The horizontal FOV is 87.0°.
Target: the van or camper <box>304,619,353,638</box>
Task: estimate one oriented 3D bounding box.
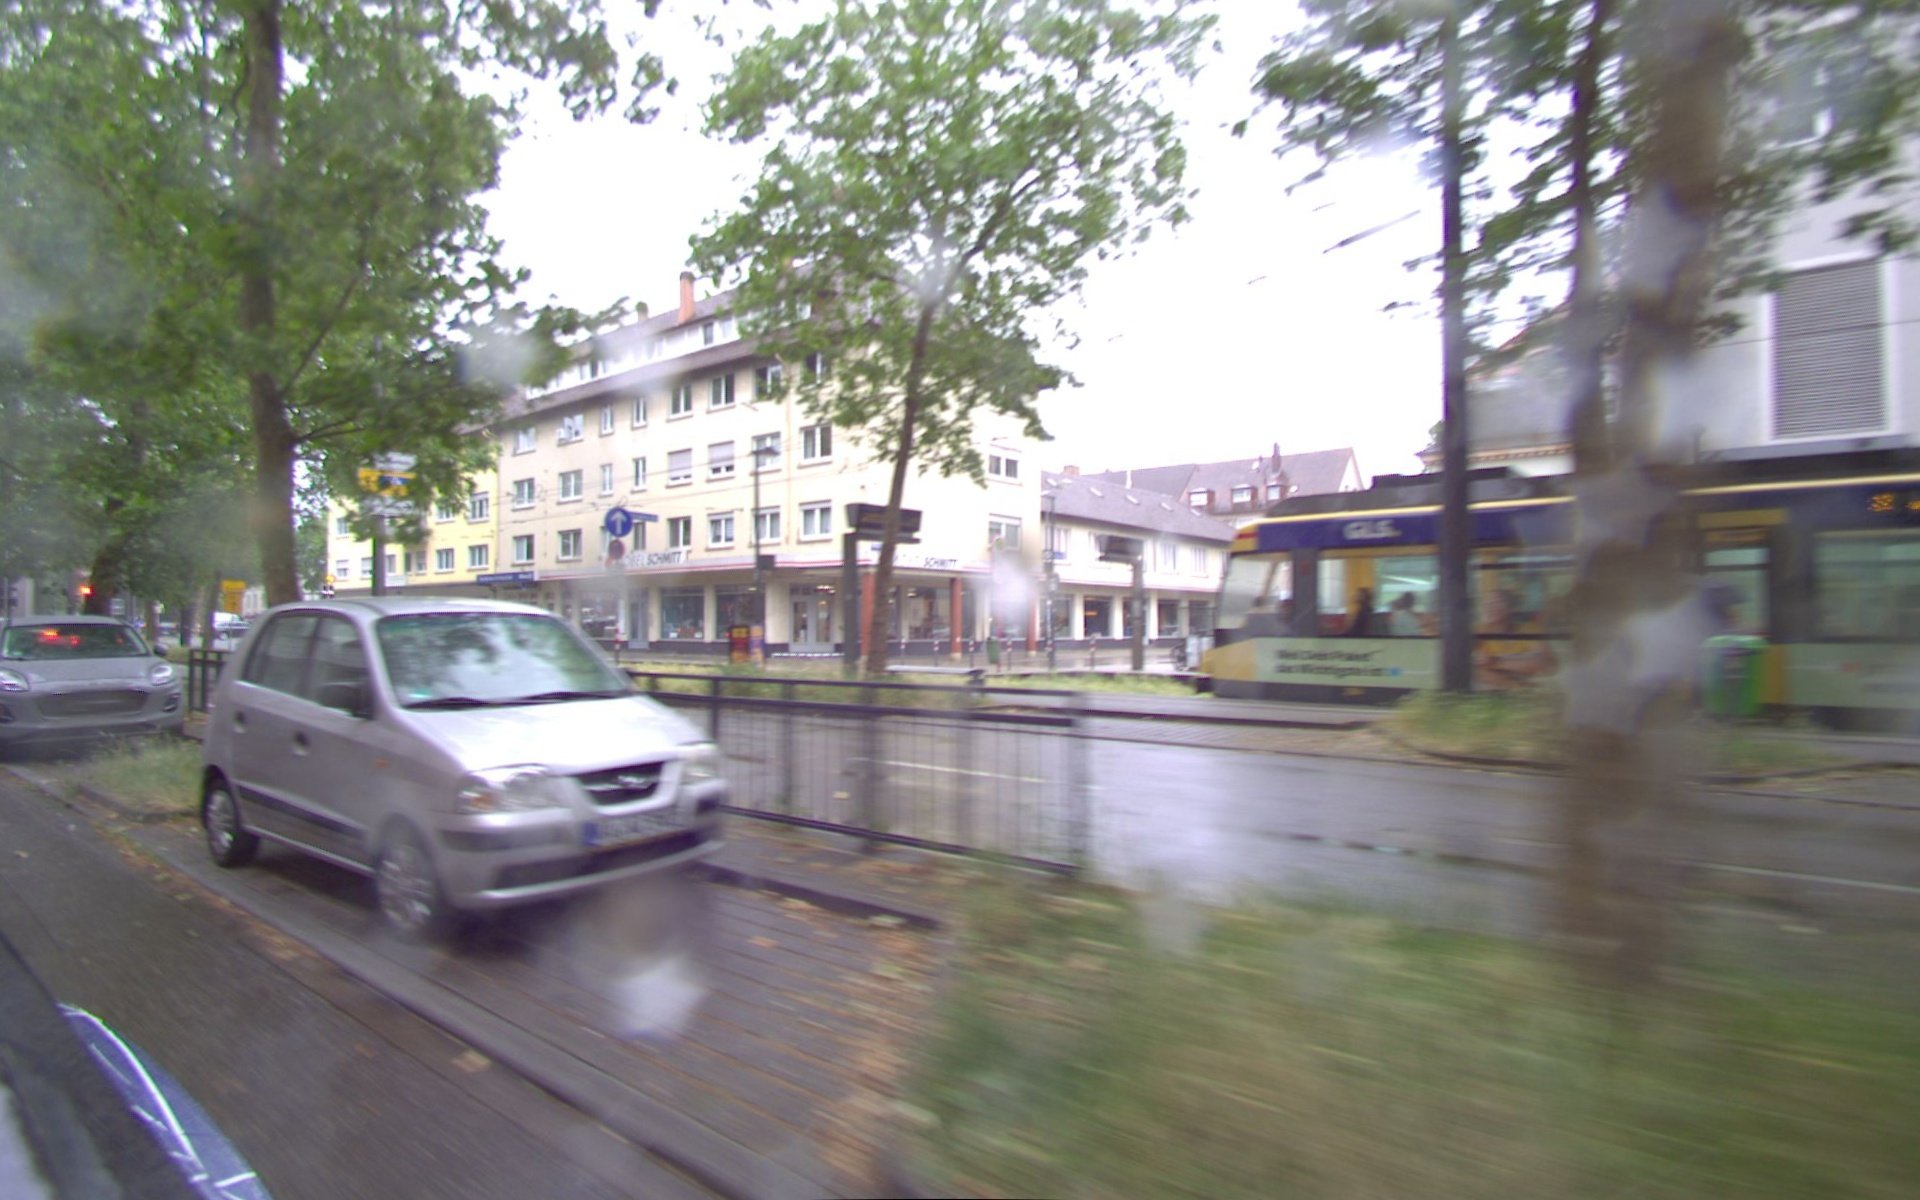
[{"bbox_3d":[-73.297,3.297,117.472,4.582,2.091,2.003,3,-3,-41],"label":"van or camper"}]

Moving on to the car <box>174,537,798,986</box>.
[{"bbox_3d":[-2.761,0.663,5.581,3.653,1.694,1.609,-2,-2,37],"label":"car"}]

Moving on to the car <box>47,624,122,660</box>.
[{"bbox_3d":[-36.049,1.696,41.638,4.127,1.408,1.723,-1,-2,40],"label":"car"}]

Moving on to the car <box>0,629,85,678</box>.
[{"bbox_3d":[-28.857,1.608,31.555,4.229,1.408,1.724,-1,-2,40],"label":"car"}]

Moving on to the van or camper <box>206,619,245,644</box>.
[{"bbox_3d":[-76.530,3.294,105.514,2.144,2.490,5.990,1,-1,-25],"label":"van or camper"}]

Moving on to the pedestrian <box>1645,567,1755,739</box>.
[{"bbox_3d":[7.790,0.540,10.652,0.871,1.717,0.810,-1,-2,39],"label":"pedestrian"}]

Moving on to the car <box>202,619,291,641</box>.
[{"bbox_3d":[-54.949,2.306,78.053,1.939,1.604,5.286,-1,-1,27],"label":"car"}]

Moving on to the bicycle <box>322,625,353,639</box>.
[{"bbox_3d":[-49.856,2.563,81.055,0.818,1.096,1.972,-1,-2,39],"label":"bicycle"}]

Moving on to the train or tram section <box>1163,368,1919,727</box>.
[{"bbox_3d":[9.706,-0.496,11.949,14.562,3.585,3.075,1,-1,39],"label":"train or tram section"}]

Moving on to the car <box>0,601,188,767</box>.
[{"bbox_3d":[-10.747,0.883,12.011,4.353,1.648,1.681,-1,-2,42],"label":"car"}]

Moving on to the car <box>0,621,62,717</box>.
[{"bbox_3d":[-17.316,1.147,17.628,4.609,1.515,1.811,-1,-1,39],"label":"car"}]

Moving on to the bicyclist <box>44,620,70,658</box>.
[{"bbox_3d":[-41.514,1.786,46.537,0.889,1.729,0.705,0,-1,39],"label":"bicyclist"}]

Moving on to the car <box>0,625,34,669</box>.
[{"bbox_3d":[-34.664,1.650,36.182,4.428,1.491,1.723,-1,-2,40],"label":"car"}]

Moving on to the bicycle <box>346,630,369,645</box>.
[{"bbox_3d":[-37.202,2.306,62.450,2.045,0.903,0.605,-1,-2,41],"label":"bicycle"}]

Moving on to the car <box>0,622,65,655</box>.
[{"bbox_3d":[-44.858,1.818,48.611,4.274,1.513,1.857,-1,-2,35],"label":"car"}]

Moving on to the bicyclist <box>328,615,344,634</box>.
[{"bbox_3d":[-49.931,1.982,80.978,0.927,1.481,0.795,1,-1,38],"label":"bicyclist"}]
